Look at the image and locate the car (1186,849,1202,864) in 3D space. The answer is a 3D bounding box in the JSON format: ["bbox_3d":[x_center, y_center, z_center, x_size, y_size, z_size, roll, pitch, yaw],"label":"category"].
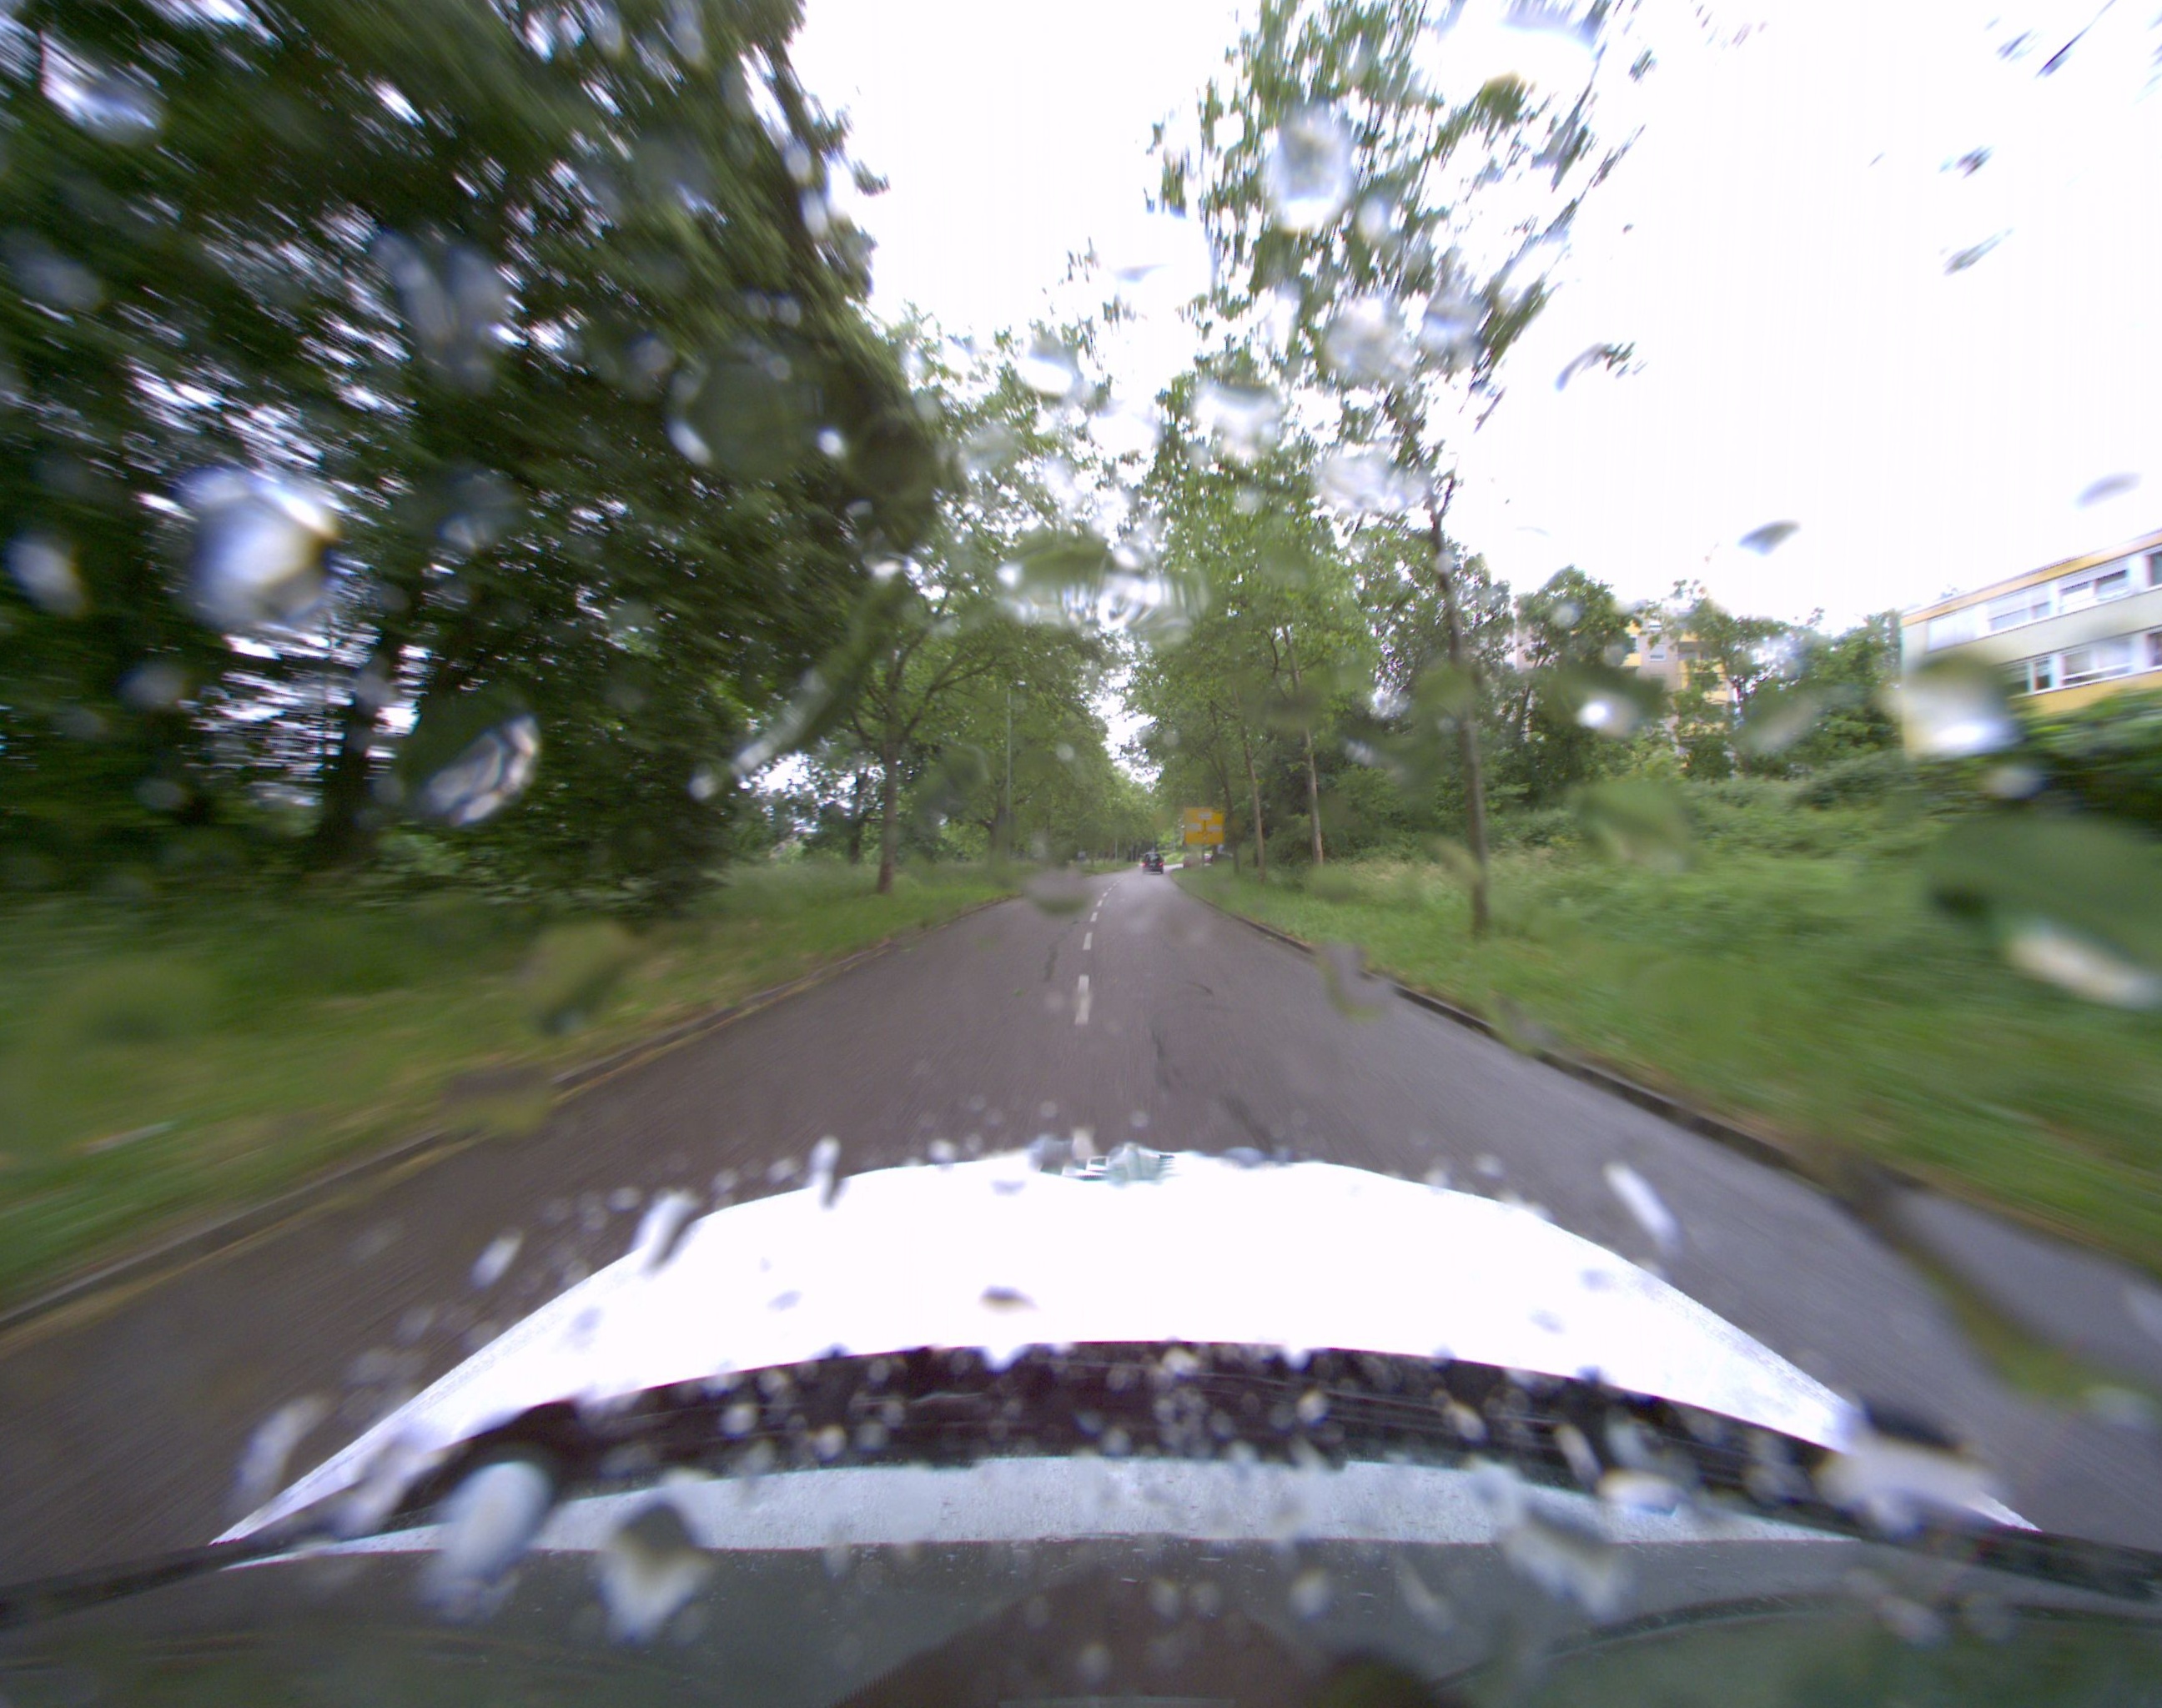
[{"bbox_3d":[12.814,0.342,92.226,1.718,1.591,4.263,-3,-1,8],"label":"car"}]

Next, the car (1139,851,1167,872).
[{"bbox_3d":[6.331,0.615,71.293,1.905,1.801,3.803,-1,0,13],"label":"car"}]

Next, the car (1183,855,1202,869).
[{"bbox_3d":[11.275,0.789,82.401,1.787,1.372,3.752,-2,-1,8],"label":"car"}]

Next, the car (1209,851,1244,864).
[{"bbox_3d":[19.272,0.490,107.936,4.443,1.680,1.772,-1,1,10],"label":"car"}]
